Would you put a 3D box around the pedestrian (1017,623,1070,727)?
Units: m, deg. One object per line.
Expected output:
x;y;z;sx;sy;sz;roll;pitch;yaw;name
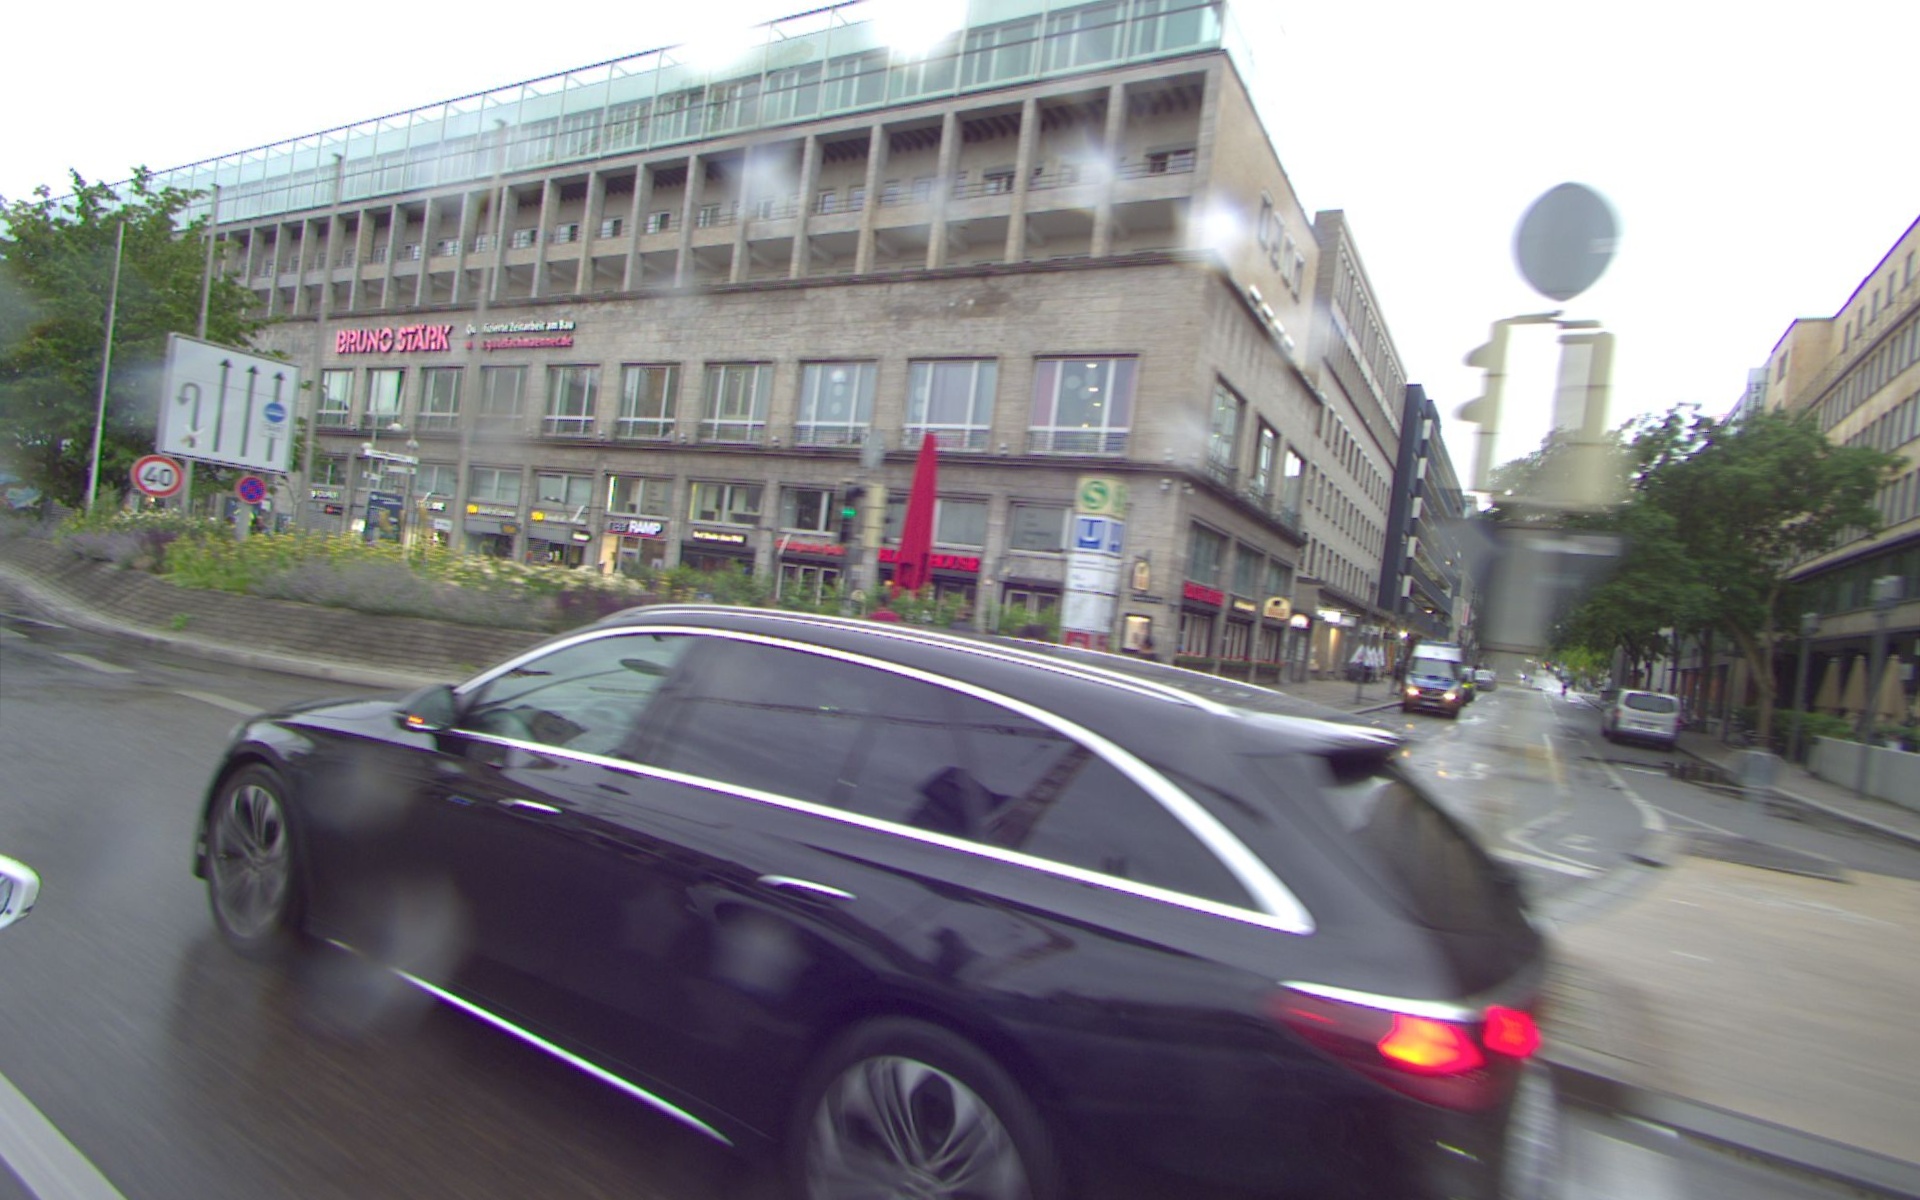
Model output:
1.313;1.173;15.732;0.505;1.564;0.424;7;0;34;pedestrian

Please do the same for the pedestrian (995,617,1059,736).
0.982;1.115;14.617;0.487;1.649;0.626;7;0;35;pedestrian

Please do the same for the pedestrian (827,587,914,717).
-1.303;0.758;14.658;0.822;1.772;0.699;7;0;29;pedestrian

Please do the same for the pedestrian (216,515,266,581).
-21.074;-1.524;29.498;1.058;1.772;0.641;7;0;29;pedestrian

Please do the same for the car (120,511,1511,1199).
-0.818;0.681;3.524;4.622;1.481;1.821;6;-1;32;car

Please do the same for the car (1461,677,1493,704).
44.123;7.721;85.828;1.967;2.038;3.994;7;-1;31;car

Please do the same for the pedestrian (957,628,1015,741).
0.375;1.204;14.415;0.463;1.539;0.499;7;0;34;pedestrian

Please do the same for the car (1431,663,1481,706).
28.583;4.852;57.877;2.062;2.127;4.294;7;-1;31;car

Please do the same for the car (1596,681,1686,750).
23.617;3.974;35.073;1.966;1.949;5.159;7;-1;30;car

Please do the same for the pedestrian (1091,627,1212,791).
2.328;1.301;12.197;0.970;1.783;0.893;7;0;35;pedestrian

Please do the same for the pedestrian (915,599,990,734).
-0.105;0.938;14.204;0.670;1.812;0.535;7;0;34;pedestrian

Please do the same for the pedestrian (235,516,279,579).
-21.226;-1.592;30.380;0.853;1.772;0.614;7;0;29;pedestrian

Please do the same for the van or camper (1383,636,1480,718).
18.410;3.019;39.066;2.456;2.672;5.999;7;-1;32;van or camper

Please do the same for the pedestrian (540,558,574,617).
-12.863;-0.391;32.095;0.625;1.772;0.532;7;0;29;pedestrian

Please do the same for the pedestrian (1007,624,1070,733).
1.183;1.189;15.202;0.582;1.547;0.554;7;0;34;pedestrian

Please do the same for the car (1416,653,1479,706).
24.963;4.081;51.400;2.295;2.323;4.691;7;-1;31;car
